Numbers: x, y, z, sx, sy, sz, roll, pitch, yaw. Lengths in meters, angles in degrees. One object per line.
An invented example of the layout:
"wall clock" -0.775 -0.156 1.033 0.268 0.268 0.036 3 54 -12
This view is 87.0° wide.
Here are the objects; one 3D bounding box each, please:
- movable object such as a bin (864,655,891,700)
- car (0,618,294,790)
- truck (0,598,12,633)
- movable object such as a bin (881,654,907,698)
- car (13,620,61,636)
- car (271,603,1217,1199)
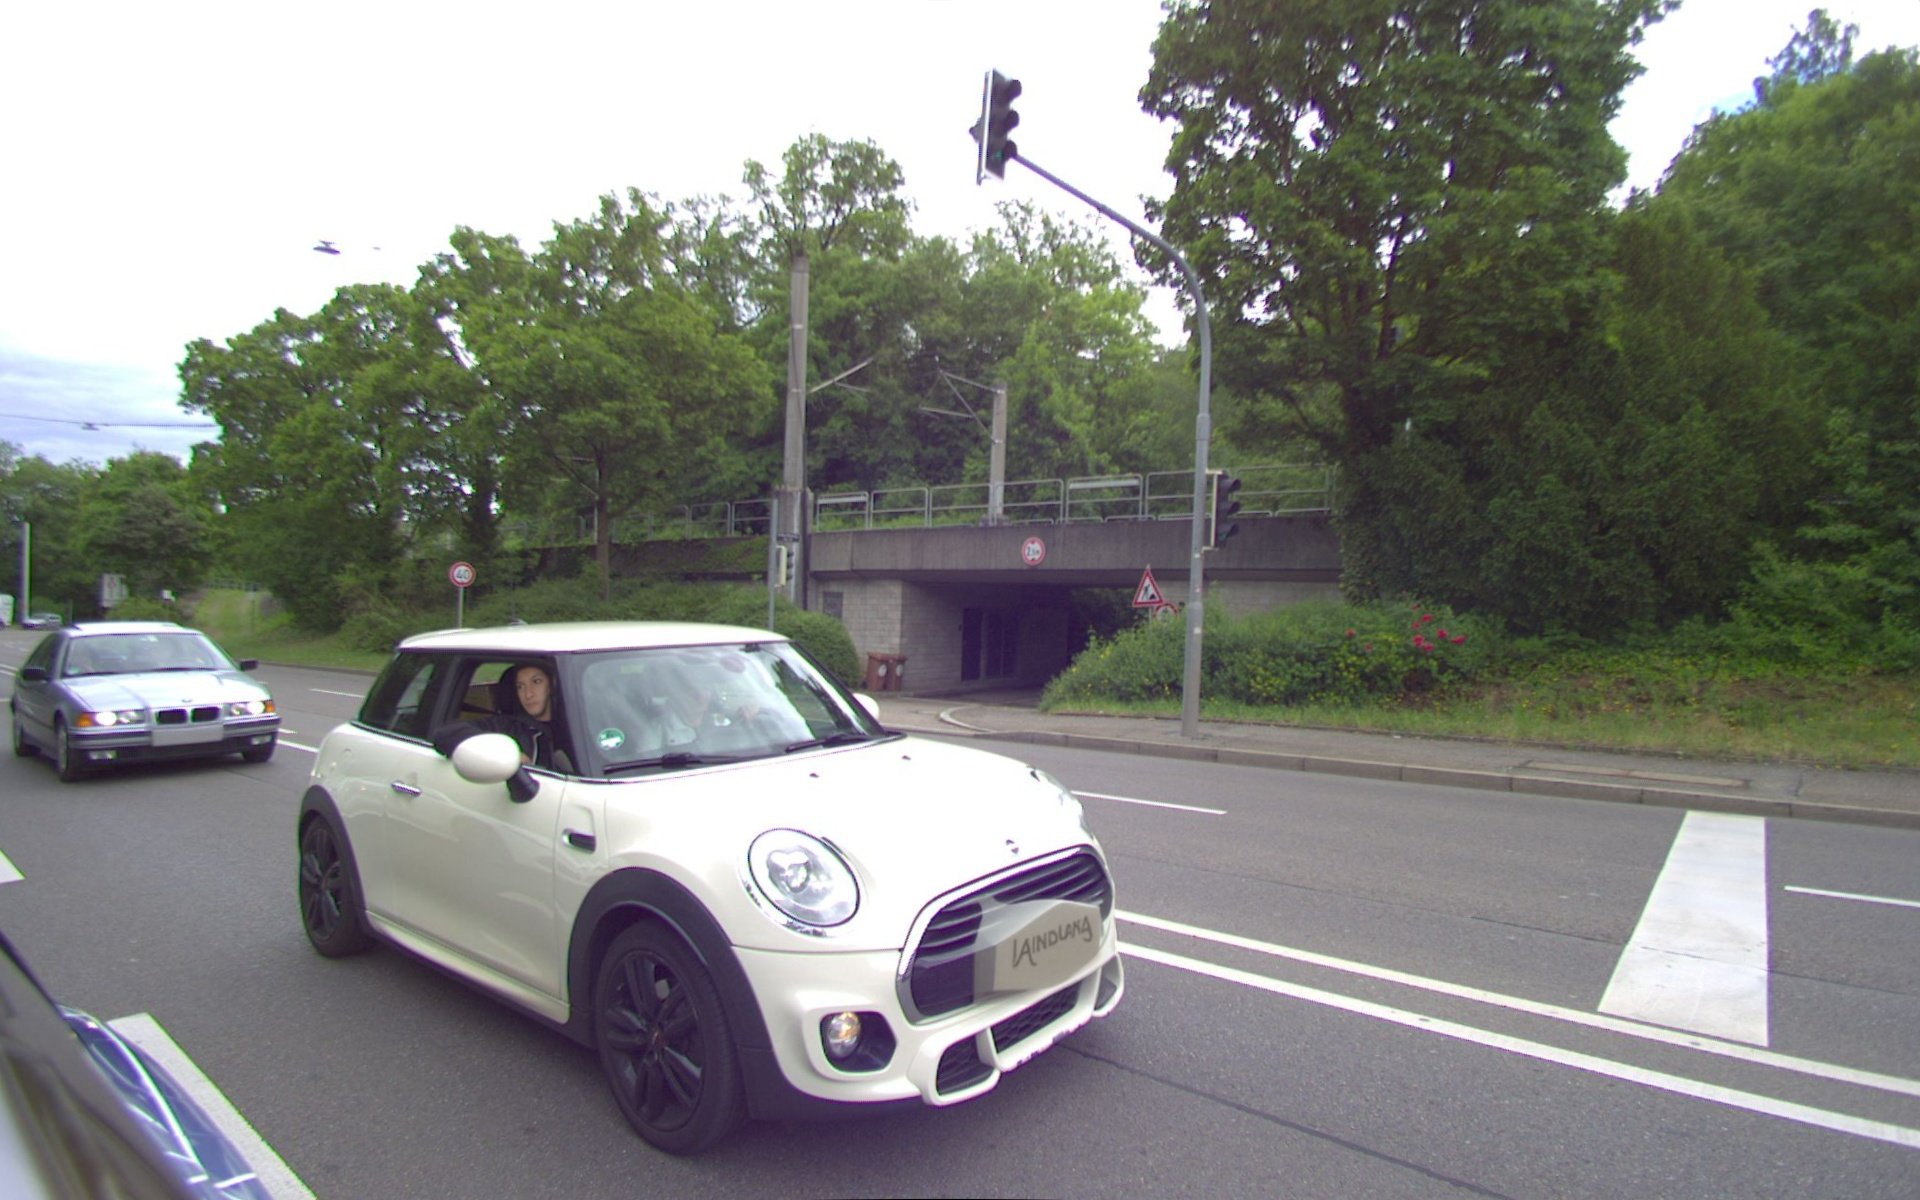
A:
"movable object such as a bin" -2.016 1.888 24.805 0.503 1.071 0.414 -1 -3 36
"car" -8.462 0.899 10.328 4.179 1.401 1.643 -1 -1 40
"truck" -87.043 1.297 89.205 2.164 3.180 6.670 2 -3 -17
"movable object such as a bin" -1.665 1.911 25.446 0.503 1.071 0.414 -1 -3 36
"car" -89.844 2.777 98.595 1.727 1.372 4.021 4 -4 -15
"car" -1.101 0.757 3.948 3.729 1.434 1.667 -1 -1 40
